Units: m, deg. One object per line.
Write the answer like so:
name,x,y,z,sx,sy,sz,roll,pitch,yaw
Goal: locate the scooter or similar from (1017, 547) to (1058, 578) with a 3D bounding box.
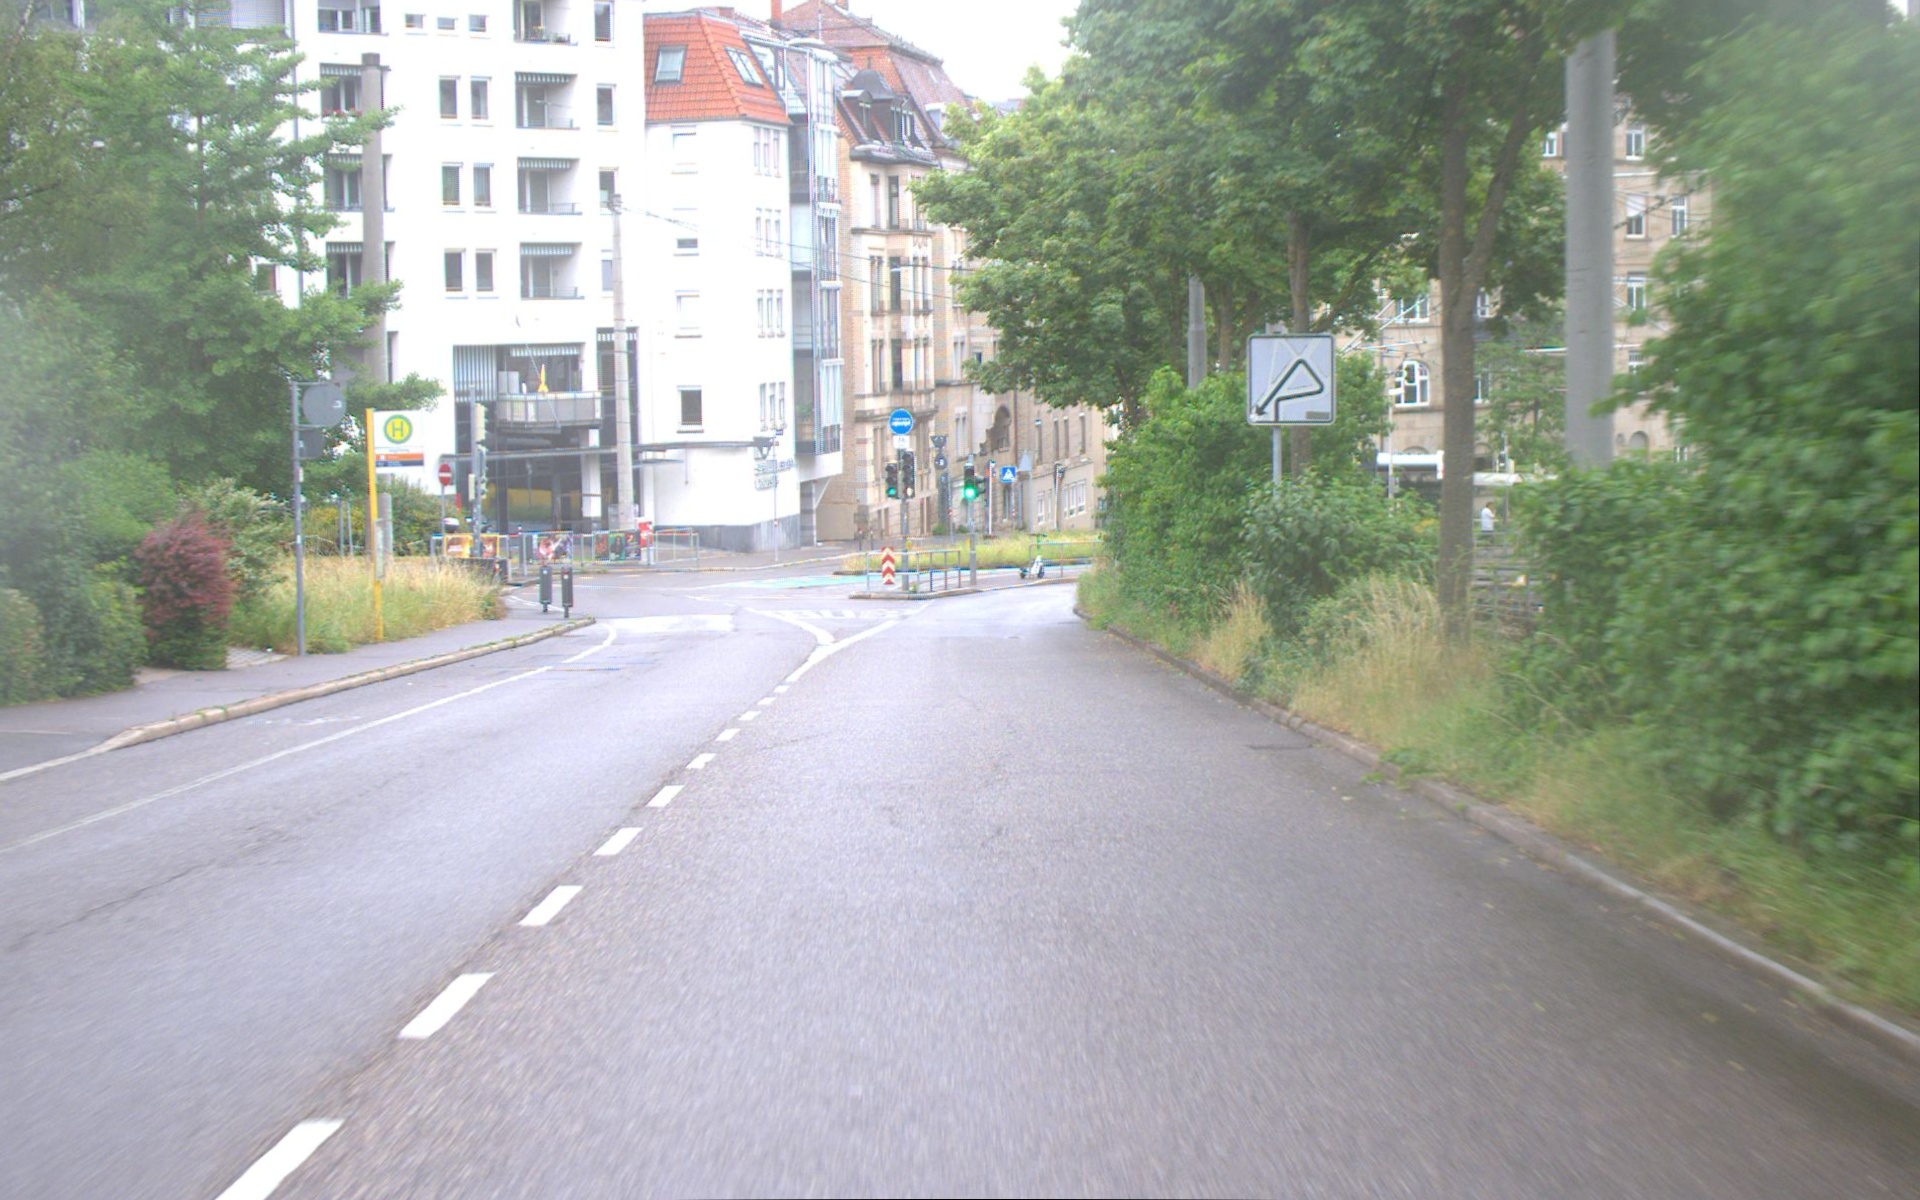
scooter or similar,1.999,-0.970,88.457,0.485,0.759,1.328,0,1,28
